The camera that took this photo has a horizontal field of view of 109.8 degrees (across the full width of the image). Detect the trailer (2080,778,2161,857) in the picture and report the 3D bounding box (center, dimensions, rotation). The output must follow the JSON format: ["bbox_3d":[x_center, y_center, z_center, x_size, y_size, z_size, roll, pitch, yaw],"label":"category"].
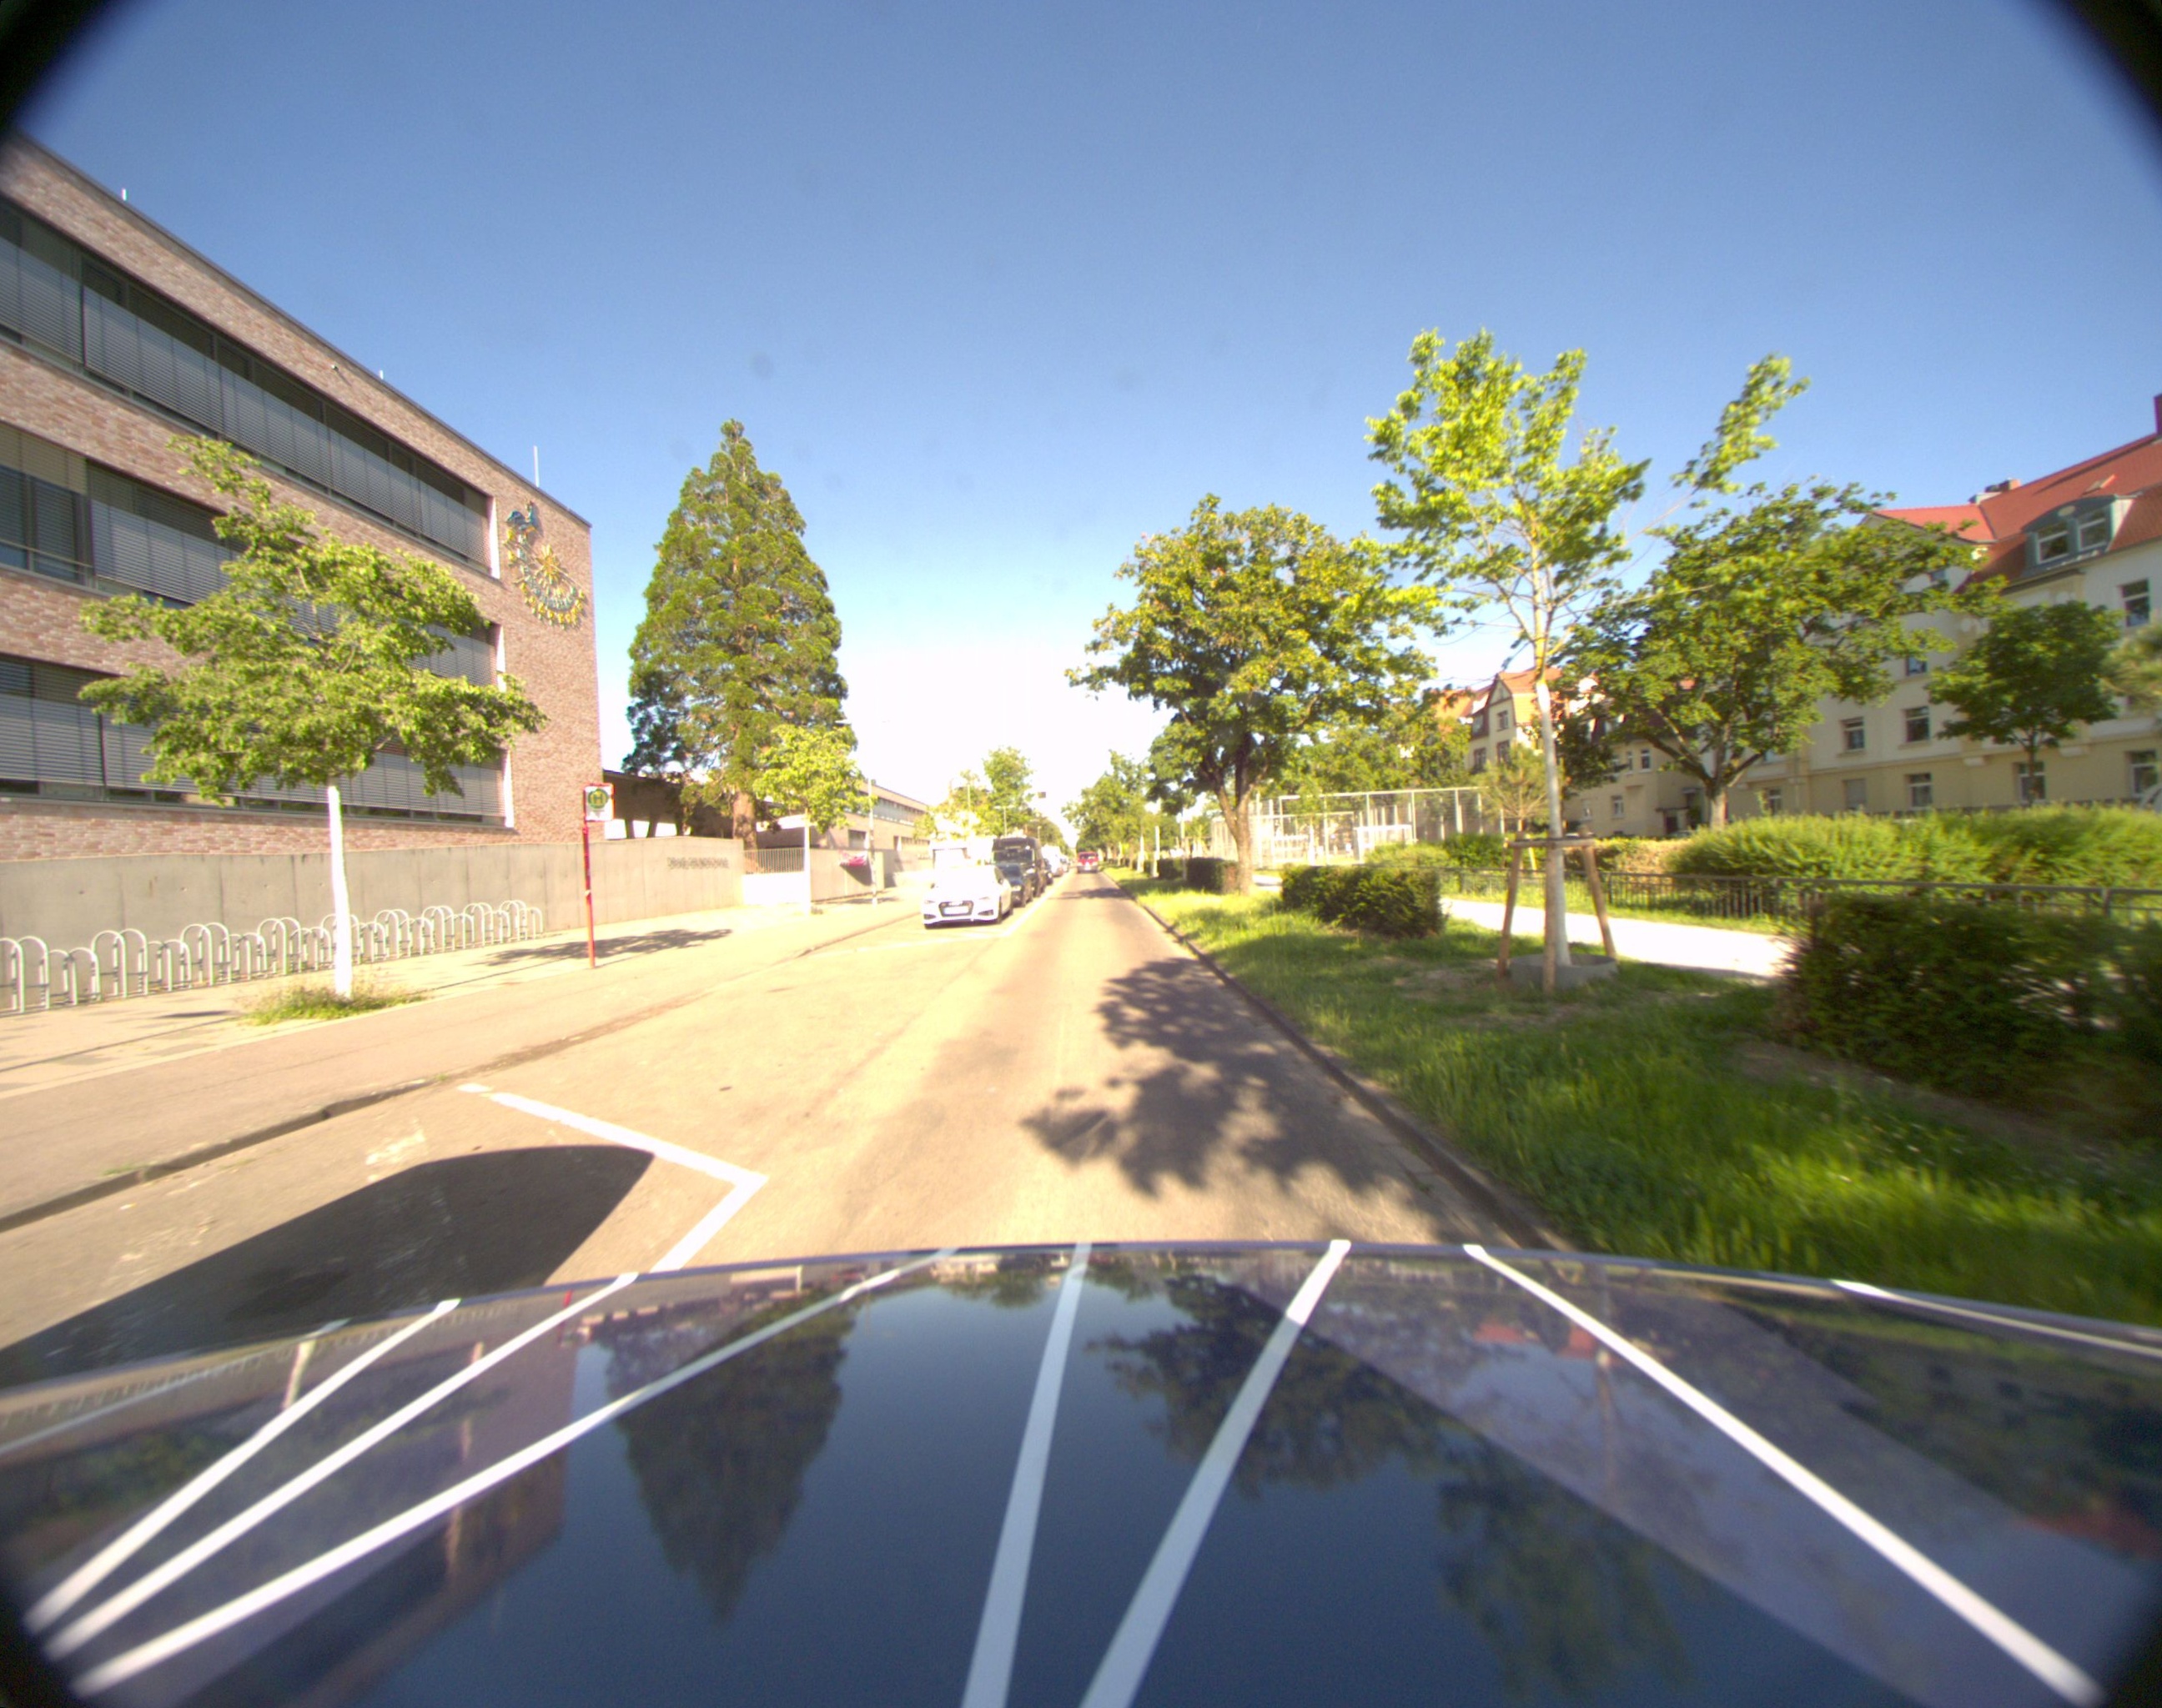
[{"bbox_3d":[40.158,-1.378,26.702,2.349,2.853,5.802,-3,0,0],"label":"trailer"}]

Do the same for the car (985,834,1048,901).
[{"bbox_3d":[-2.655,0.515,32.729,2.121,2.501,6.531,-2,0,-1],"label":"car"}]

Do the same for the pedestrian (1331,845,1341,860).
[{"bbox_3d":[22.320,-0.155,66.540,0.648,1.310,0.651,-3,0,30],"label":"pedestrian"}]

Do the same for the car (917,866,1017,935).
[{"bbox_3d":[-2.768,1.080,19.535,1.799,1.412,4.657,-2,0,0],"label":"car"}]

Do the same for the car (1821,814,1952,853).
[{"bbox_3d":[40.241,-0.966,38.156,1.799,1.767,4.489,-3,0,1],"label":"car"}]

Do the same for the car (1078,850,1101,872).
[{"bbox_3d":[0.757,0.639,70.846,2.092,2.000,4.844,0,0,0],"label":"car"}]

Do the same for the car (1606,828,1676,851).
[{"bbox_3d":[39.711,-0.997,53.993,1.799,1.501,4.231,-3,0,1],"label":"car"}]

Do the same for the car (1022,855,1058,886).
[{"bbox_3d":[-2.383,0.947,44.923,1.851,1.630,4.503,-2,0,0],"label":"car"}]

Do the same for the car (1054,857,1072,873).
[{"bbox_3d":[-1.948,1.158,81.719,1.705,1.470,4.173,-3,0,1],"label":"car"}]

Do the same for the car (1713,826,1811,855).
[{"bbox_3d":[39.942,-0.766,44.713,1.799,1.501,4.347,-3,0,1],"label":"car"}]

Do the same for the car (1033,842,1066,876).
[{"bbox_3d":[-2.562,0.396,62.493,2.246,2.559,5.432,-3,0,1],"label":"car"}]

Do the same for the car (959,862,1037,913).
[{"bbox_3d":[-2.693,1.065,25.856,1.998,1.412,4.636,-2,0,1],"label":"car"}]

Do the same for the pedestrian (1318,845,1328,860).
[{"bbox_3d":[21.384,-0.111,67.102,0.648,1.310,0.651,-3,0,30],"label":"pedestrian"}]

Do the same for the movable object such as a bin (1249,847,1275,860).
[{"bbox_3d":[18.235,-0.055,76.729,2.337,1.234,1.056,-2,0,-3],"label":"movable object such as a bin"}]

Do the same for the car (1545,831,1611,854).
[{"bbox_3d":[39.948,-0.869,61.234,1.886,1.642,5.182,-3,0,1],"label":"car"}]

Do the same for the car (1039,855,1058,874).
[{"bbox_3d":[-2.982,0.924,69.523,1.624,1.579,3.591,-3,0,-2],"label":"car"}]
